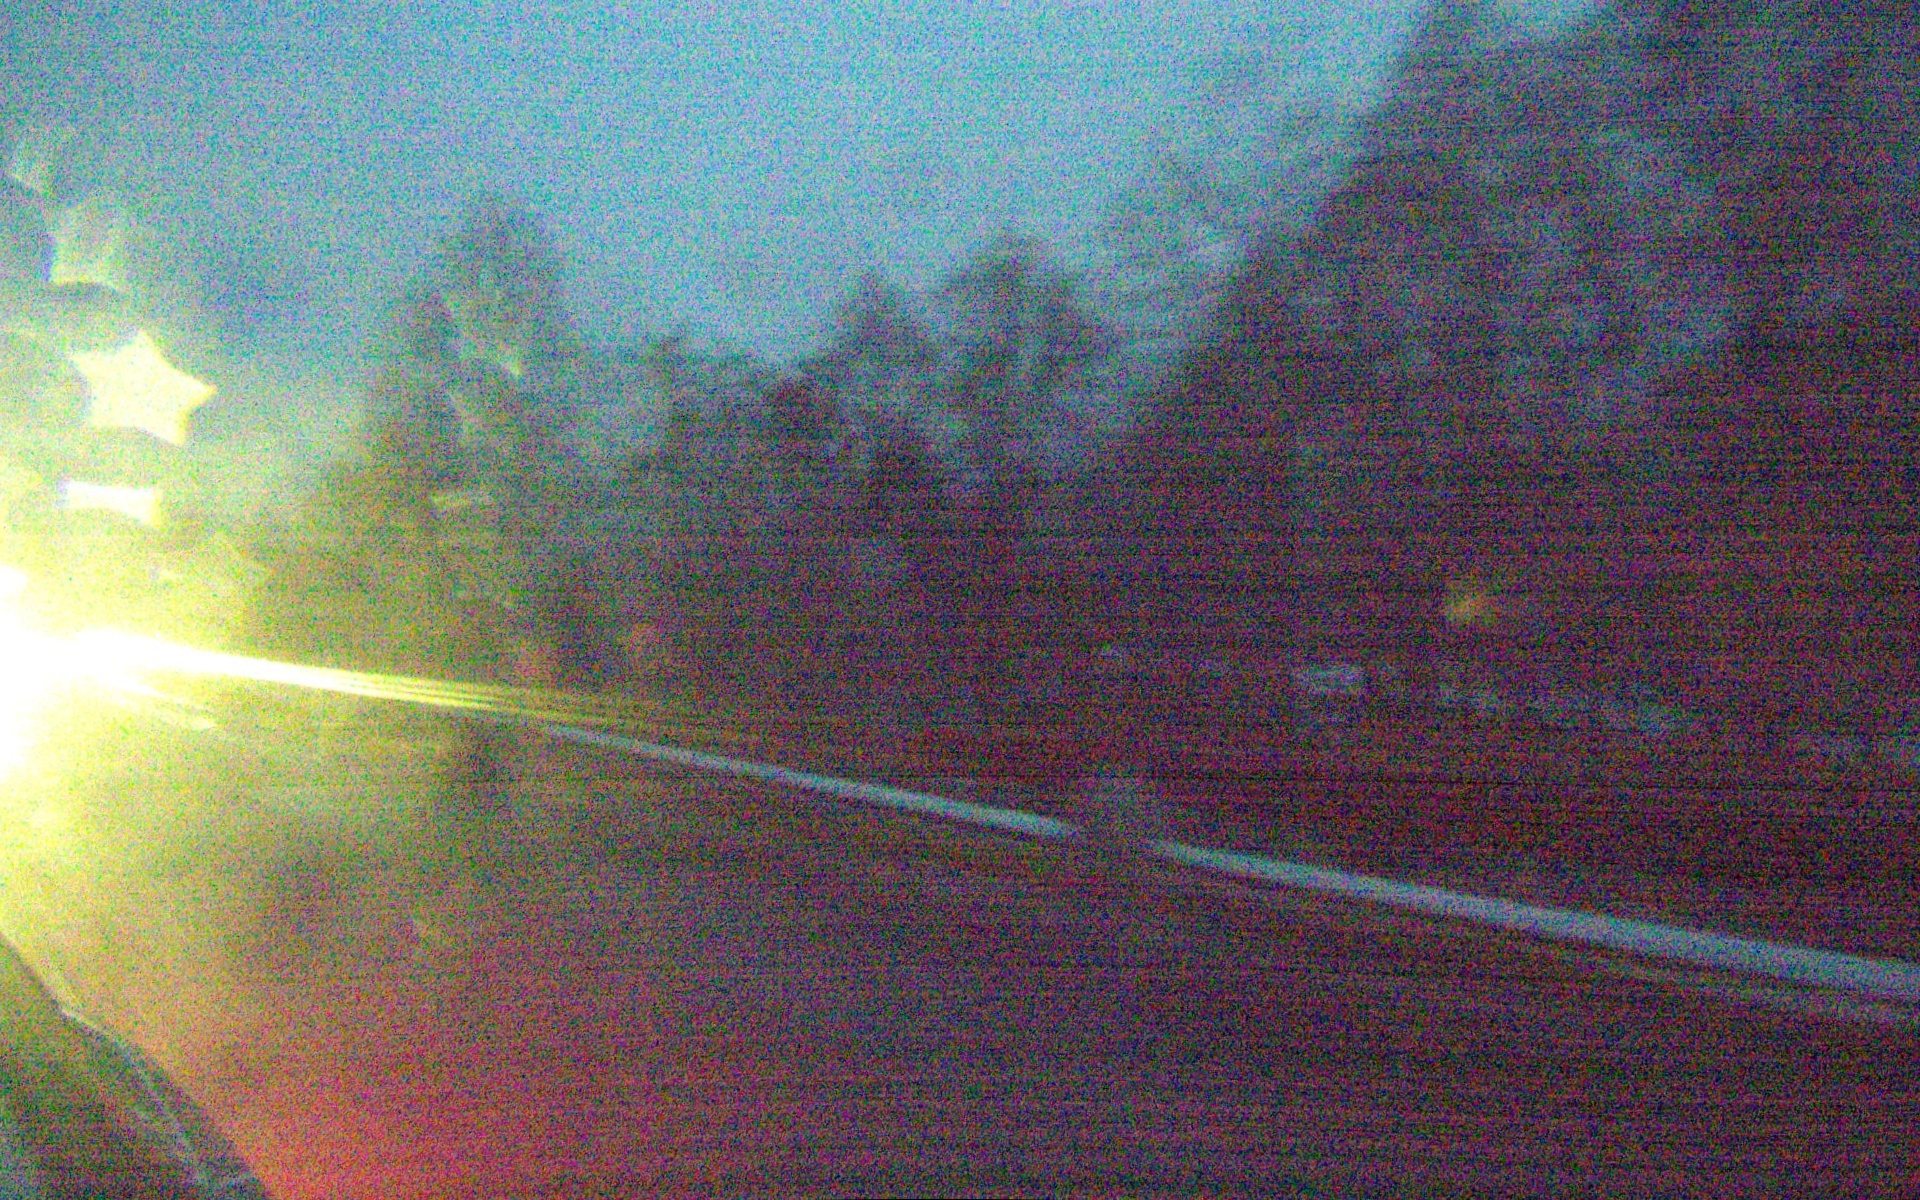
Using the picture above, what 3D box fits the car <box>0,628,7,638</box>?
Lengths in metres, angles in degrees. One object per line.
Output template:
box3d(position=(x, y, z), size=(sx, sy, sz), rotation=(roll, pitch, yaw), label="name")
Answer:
box3d(position=(-142.235, 4.853, 149.594), size=(1.894, 1.475, 4.264), rotation=(0, -1, -42), label="car")
